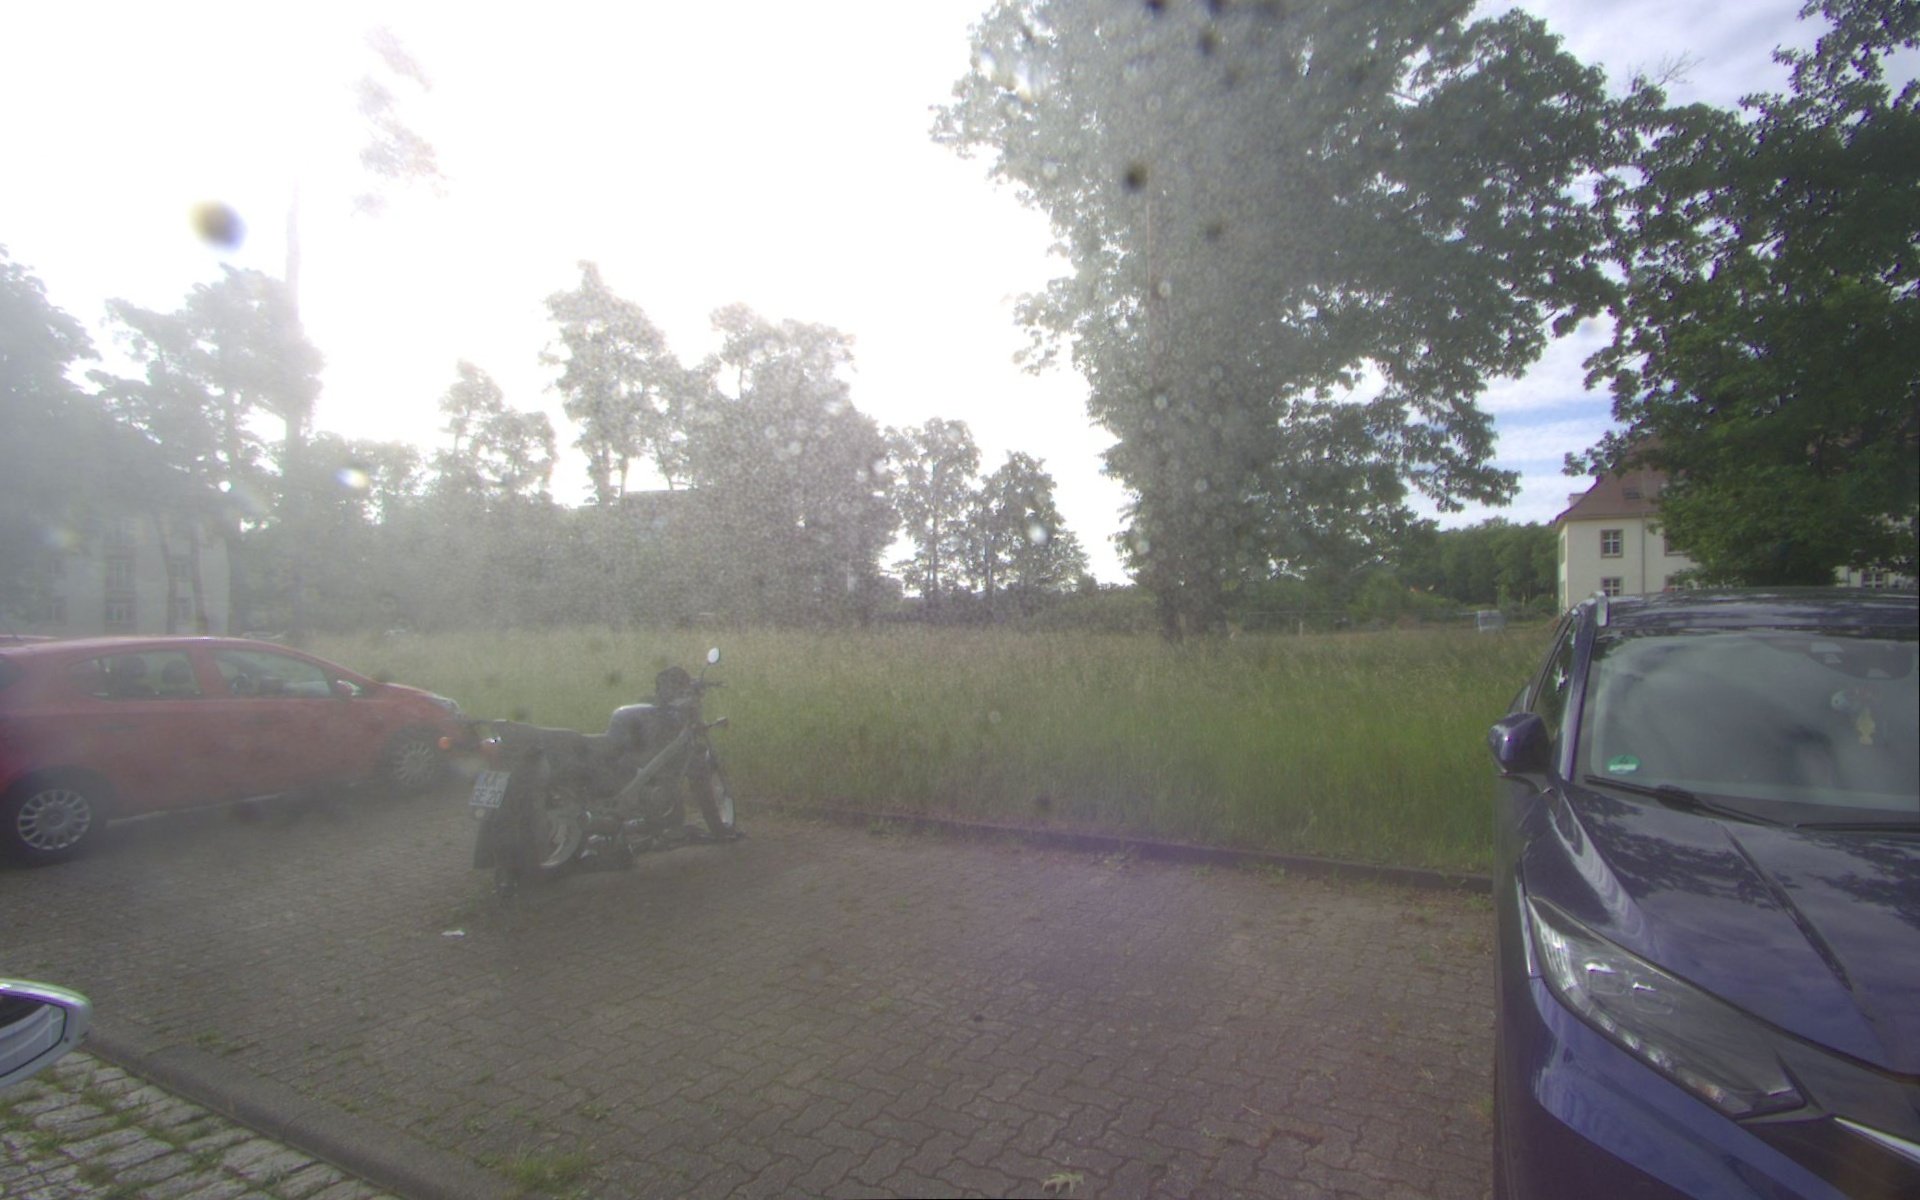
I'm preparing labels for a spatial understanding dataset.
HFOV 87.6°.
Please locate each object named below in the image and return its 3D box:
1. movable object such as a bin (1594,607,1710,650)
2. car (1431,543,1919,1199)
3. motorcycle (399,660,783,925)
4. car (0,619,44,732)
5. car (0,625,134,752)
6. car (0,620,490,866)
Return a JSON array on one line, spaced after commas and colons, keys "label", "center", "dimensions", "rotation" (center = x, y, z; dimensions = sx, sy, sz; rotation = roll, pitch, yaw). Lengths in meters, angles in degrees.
[{"label": "movable object such as a bin", "center": [44.195, 1.848, 64.051], "dimensions": [5.909, 2.688, 2.158], "rotation": [-2, -2, 41]}, {"label": "car", "center": [2.571, 0.742, 3.056], "dimensions": [1.766, 1.591, 4.158], "rotation": [-2, -2, 29]}, {"label": "motorcycle", "center": [-2.123, 1.032, 6.207], "dimensions": [0.783, 1.201, 2.326], "rotation": [-1, 0, 26]}, {"label": "car", "center": [-14.927, 1.089, 13.074], "dimensions": [1.723, 1.573, 4.026], "rotation": [-1, 0, 27]}, {"label": "car", "center": [-12.559, 1.104, 11.959], "dimensions": [1.725, 1.479, 3.787], "rotation": [-1, 0, 29]}, {"label": "car", "center": [-6.113, 0.960, 8.172], "dimensions": [1.752, 1.479, 3.821], "rotation": [-1, 0, 28]}]
